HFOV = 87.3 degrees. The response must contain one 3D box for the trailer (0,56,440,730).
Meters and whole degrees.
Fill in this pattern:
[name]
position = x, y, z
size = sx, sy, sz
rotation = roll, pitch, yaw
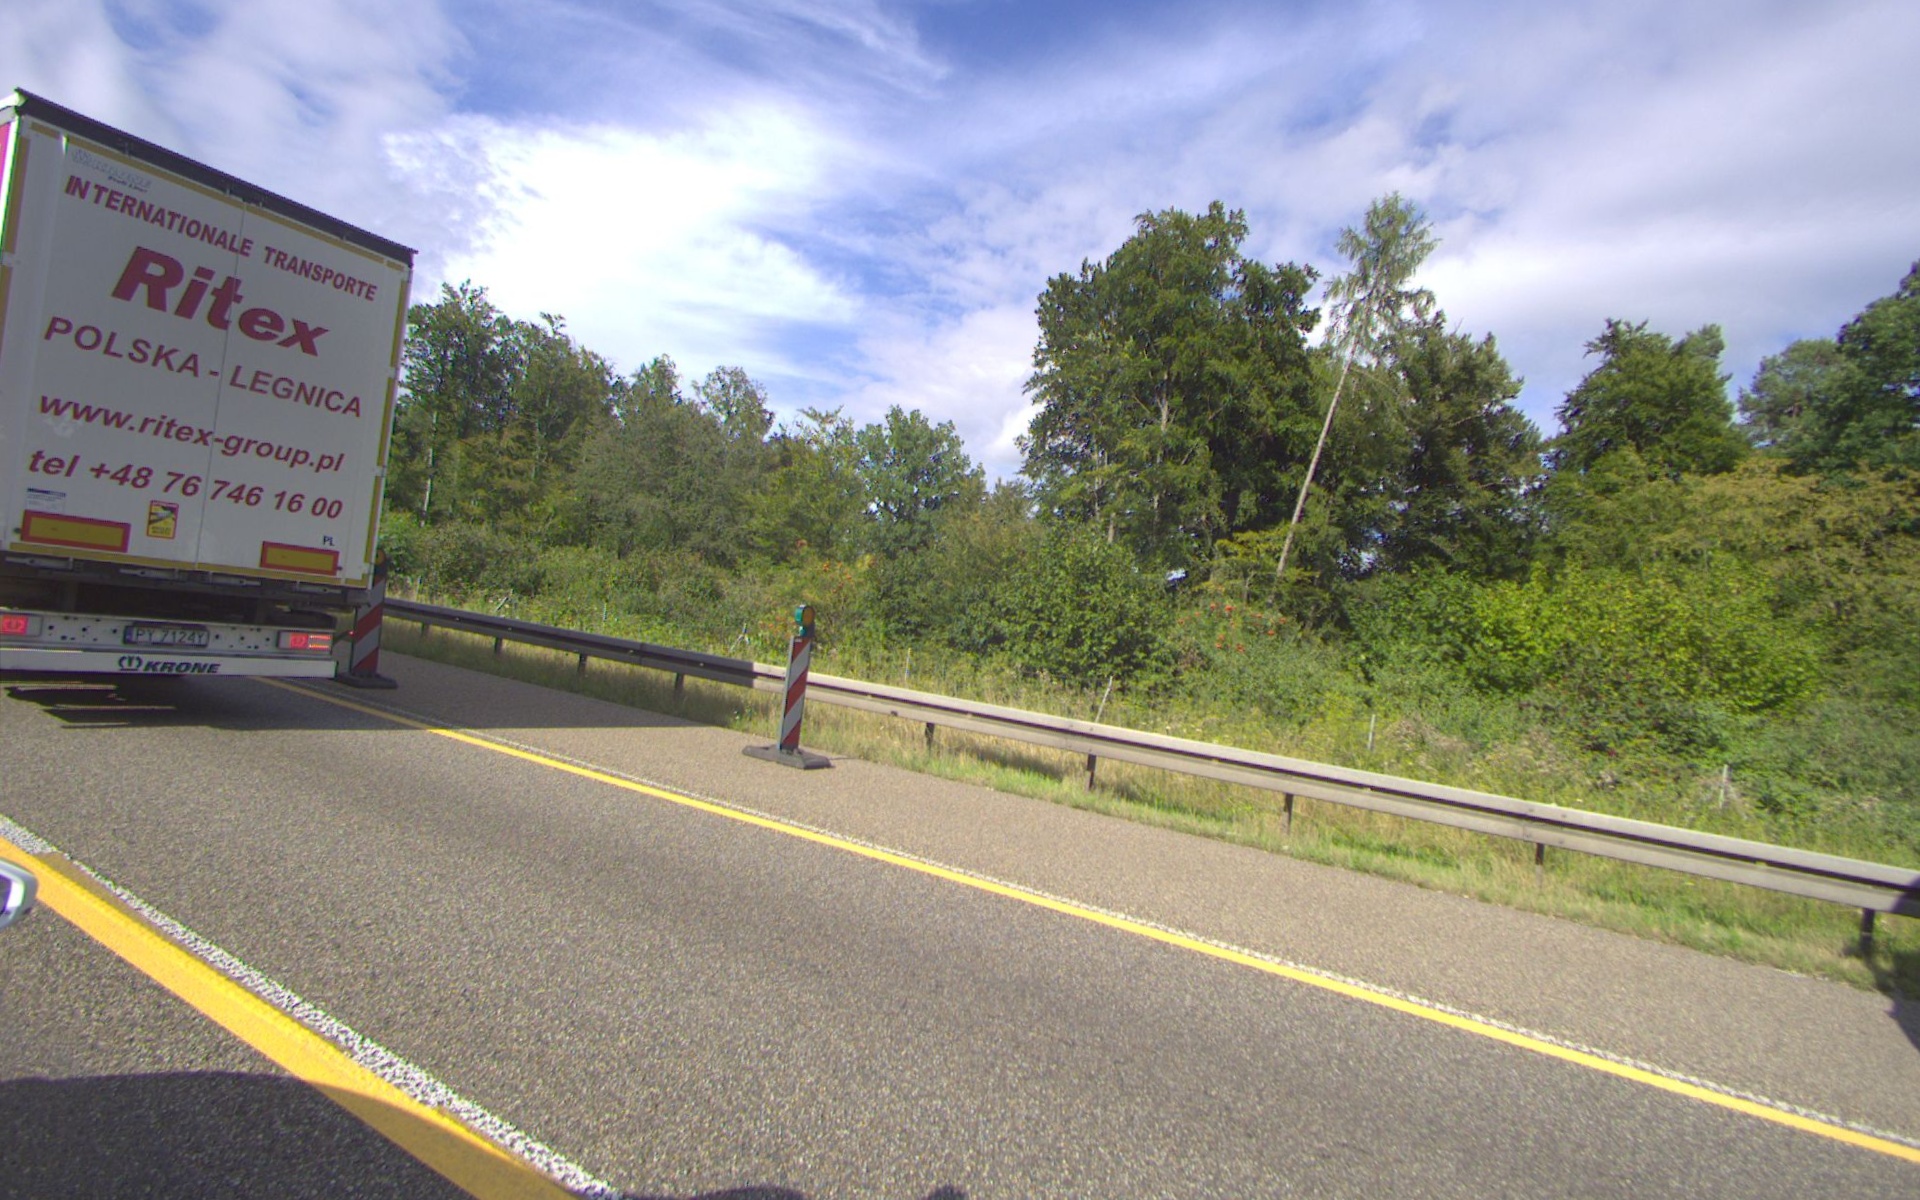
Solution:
[trailer]
position = -10.806, -1.746, 10.503
size = 13.193, 4.015, 2.705
rotation = 7, -1, 31
